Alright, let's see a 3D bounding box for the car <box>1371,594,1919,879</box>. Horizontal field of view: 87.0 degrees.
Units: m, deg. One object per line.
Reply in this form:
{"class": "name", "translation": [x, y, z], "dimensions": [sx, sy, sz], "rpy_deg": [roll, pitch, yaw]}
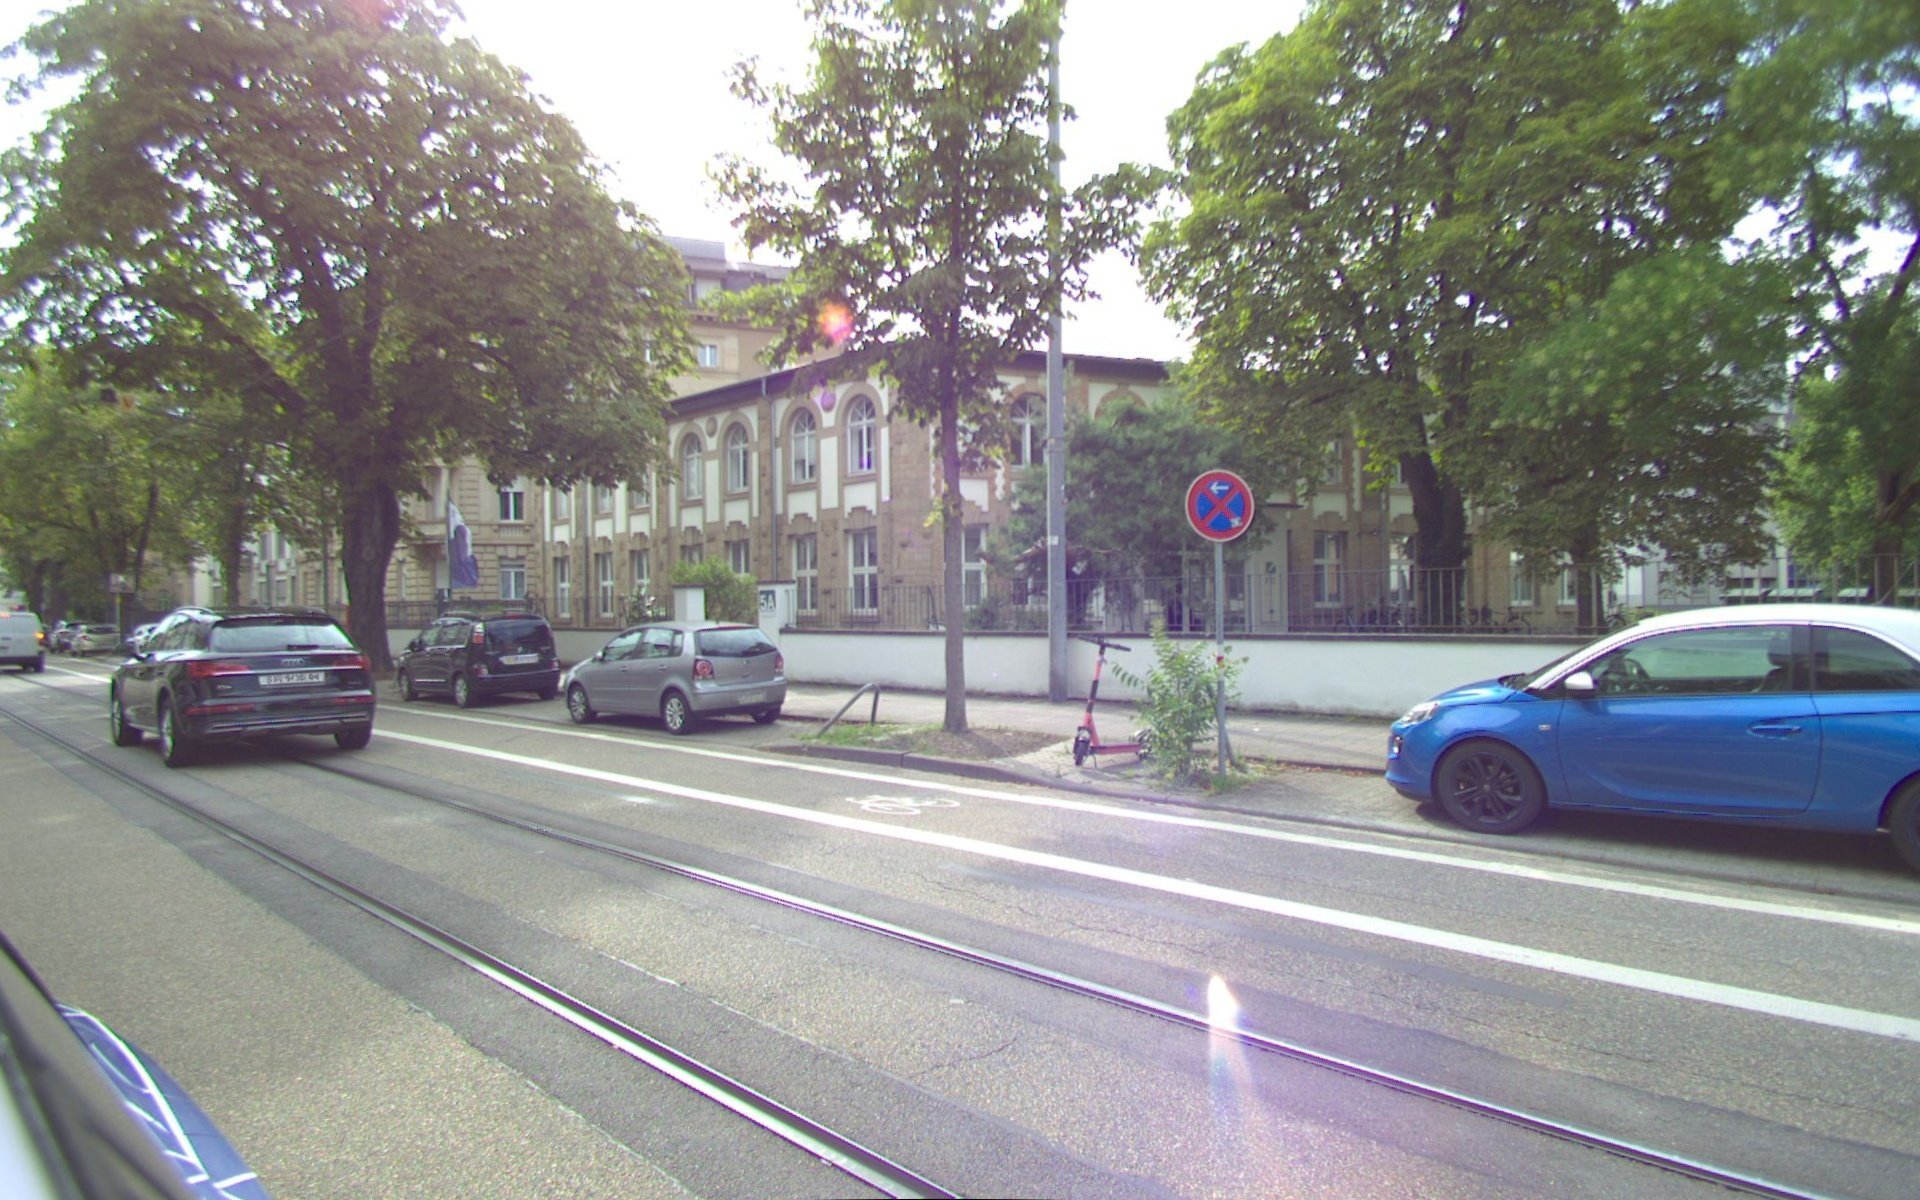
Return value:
{"class": "car", "translation": [4.780, 0.730, 6.536], "dimensions": [3.600, 1.476, 1.611], "rpy_deg": [-2, -1, 41]}

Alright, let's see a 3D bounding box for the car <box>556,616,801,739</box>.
{"class": "car", "translation": [-4.017, 0.995, 14.204], "dimensions": [3.572, 1.476, 1.611], "rpy_deg": [-2, -1, 41]}

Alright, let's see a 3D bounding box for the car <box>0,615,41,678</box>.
{"class": "car", "translation": [-29.948, 1.420, 31.272], "dimensions": [4.676, 1.837, 1.776], "rpy_deg": [-2, -1, 41]}

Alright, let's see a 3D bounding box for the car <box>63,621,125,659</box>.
{"class": "car", "translation": [-40.073, 1.830, 46.819], "dimensions": [3.904, 1.646, 1.637], "rpy_deg": [-2, -1, 41]}

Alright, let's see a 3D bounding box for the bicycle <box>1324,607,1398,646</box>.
{"class": "bicycle", "translation": [11.305, 0.735, 28.605], "dimensions": [0.584, 1.051, 1.984], "rpy_deg": [-1, 0, -30]}

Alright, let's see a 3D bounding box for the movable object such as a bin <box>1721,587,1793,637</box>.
{"class": "movable object such as a bin", "translation": [23.786, 0.358, 30.228], "dimensions": [1.103, 1.441, 1.288], "rpy_deg": [0, 0, -21]}

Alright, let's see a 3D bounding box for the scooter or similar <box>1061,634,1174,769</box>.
{"class": "scooter or similar", "translation": [1.479, 0.927, 9.501], "dimensions": [0.987, 1.176, 0.370], "rpy_deg": [-1, -1, -24]}

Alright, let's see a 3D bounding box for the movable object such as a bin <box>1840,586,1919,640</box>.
{"class": "movable object such as a bin", "translation": [25.009, 0.342, 27.471], "dimensions": [1.103, 1.441, 1.288], "rpy_deg": [0, 0, -21]}

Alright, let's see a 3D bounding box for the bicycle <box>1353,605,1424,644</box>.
{"class": "bicycle", "translation": [12.182, 0.682, 28.842], "dimensions": [0.584, 1.051, 1.984], "rpy_deg": [-1, 0, -23]}

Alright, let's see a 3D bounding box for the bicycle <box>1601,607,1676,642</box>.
{"class": "bicycle", "translation": [21.840, 0.774, 32.600], "dimensions": [0.584, 1.051, 1.984], "rpy_deg": [-1, 0, -23]}

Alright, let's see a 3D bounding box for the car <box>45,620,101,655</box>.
{"class": "car", "translation": [-45.423, 1.899, 51.811], "dimensions": [3.904, 1.646, 1.637], "rpy_deg": [-2, -1, 41]}

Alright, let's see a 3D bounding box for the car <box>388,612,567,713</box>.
{"class": "car", "translation": [-8.921, 1.079, 18.602], "dimensions": [3.723, 1.646, 1.637], "rpy_deg": [-2, -1, 41]}

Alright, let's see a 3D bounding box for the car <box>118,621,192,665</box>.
{"class": "car", "translation": [-31.934, 1.682, 40.130], "dimensions": [3.904, 1.613, 1.637], "rpy_deg": [-2, -1, 41]}

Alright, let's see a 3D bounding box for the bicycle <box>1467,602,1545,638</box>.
{"class": "bicycle", "translation": [16.691, 0.606, 30.971], "dimensions": [1.978, 1.051, 0.586], "rpy_deg": [-1, 0, 44]}

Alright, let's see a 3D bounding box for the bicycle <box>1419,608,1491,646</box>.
{"class": "bicycle", "translation": [14.478, 0.781, 29.667], "dimensions": [0.584, 1.051, 1.984], "rpy_deg": [-1, 0, -23]}

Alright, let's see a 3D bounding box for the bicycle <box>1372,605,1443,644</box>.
{"class": "bicycle", "translation": [12.878, 0.689, 29.175], "dimensions": [0.584, 1.051, 1.984], "rpy_deg": [-1, 0, -23]}

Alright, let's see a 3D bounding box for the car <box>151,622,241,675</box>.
{"class": "car", "translation": [-25.677, 1.586, 33.968], "dimensions": [3.904, 1.646, 1.637], "rpy_deg": [-2, -1, 41]}

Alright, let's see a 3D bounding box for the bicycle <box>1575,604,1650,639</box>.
{"class": "bicycle", "translation": [20.620, 0.664, 32.048], "dimensions": [0.584, 1.051, 1.984], "rpy_deg": [-1, 0, -23]}

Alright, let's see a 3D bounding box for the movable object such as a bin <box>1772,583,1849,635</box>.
{"class": "movable object such as a bin", "translation": [24.298, 0.261, 28.932], "dimensions": [1.103, 1.441, 1.288], "rpy_deg": [0, 0, -21]}

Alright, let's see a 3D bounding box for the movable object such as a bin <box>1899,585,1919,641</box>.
{"class": "movable object such as a bin", "translation": [25.387, 0.338, 26.152], "dimensions": [1.103, 1.441, 1.288], "rpy_deg": [0, 0, -21]}

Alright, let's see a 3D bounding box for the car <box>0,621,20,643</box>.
{"class": "car", "translation": [-87.967, 2.933, 91.690], "dimensions": [2.000, 2.029, 3.943], "rpy_deg": [-2, -1, 43]}

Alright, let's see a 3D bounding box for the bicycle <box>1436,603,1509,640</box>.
{"class": "bicycle", "translation": [15.171, 0.625, 30.006], "dimensions": [0.584, 1.051, 1.984], "rpy_deg": [-1, 0, -23]}

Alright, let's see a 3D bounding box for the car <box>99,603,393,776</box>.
{"class": "car", "translation": [-8.397, 0.900, 11.747], "dimensions": [4.332, 1.624, 1.828], "rpy_deg": [-2, -1, 41]}
